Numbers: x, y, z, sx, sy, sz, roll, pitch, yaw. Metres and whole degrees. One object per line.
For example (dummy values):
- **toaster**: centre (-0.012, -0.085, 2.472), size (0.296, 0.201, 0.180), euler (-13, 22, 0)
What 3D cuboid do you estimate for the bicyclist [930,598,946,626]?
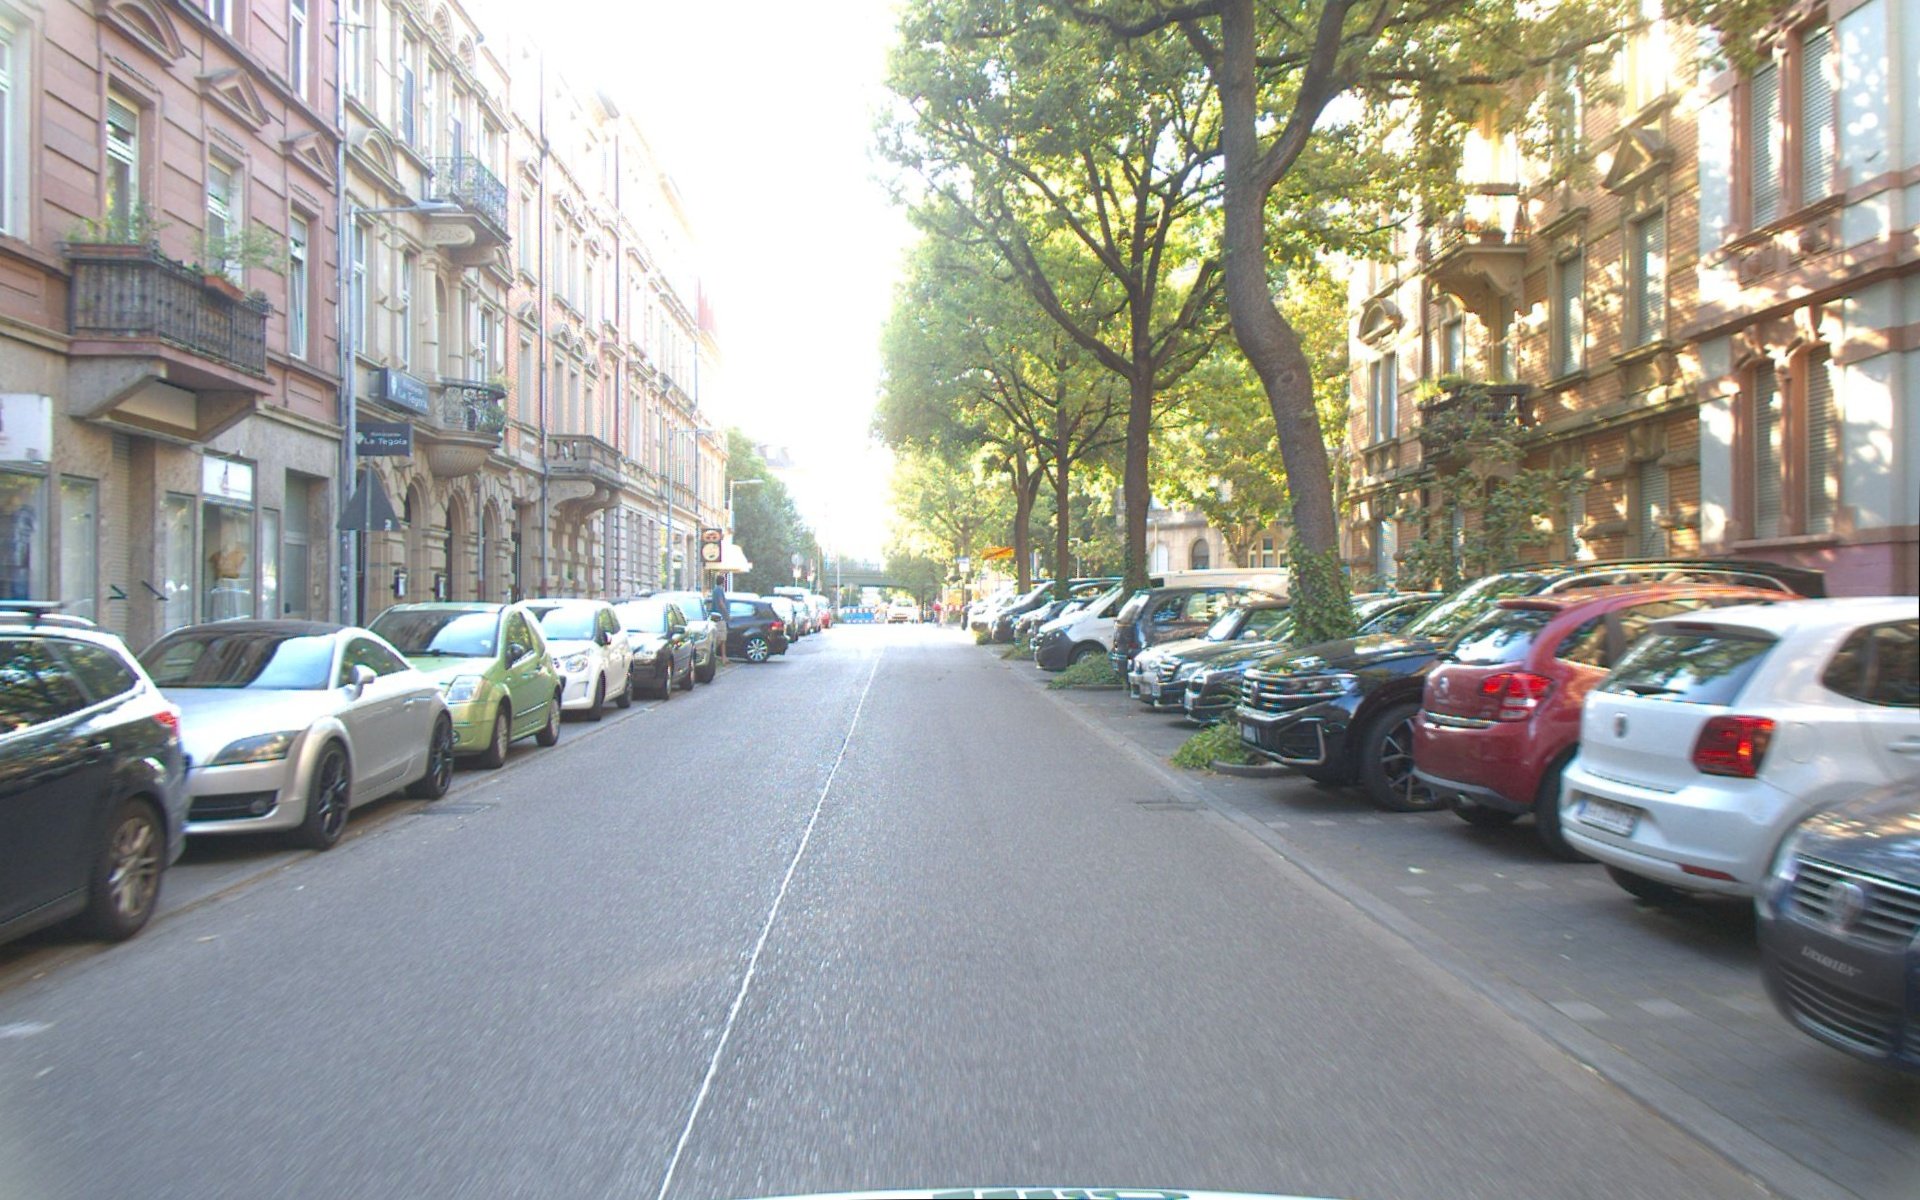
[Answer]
- **bicyclist**: centre (-1.122, 0.588, 83.663), size (0.787, 1.407, 0.985), euler (1, 0, -3)

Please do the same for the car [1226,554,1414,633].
- **car**: centre (12.093, -0.197, 55.768), size (5.784, 2.582, 2.376), euler (0, 0, -8)

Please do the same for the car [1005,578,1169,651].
- **car**: centre (3.417, 0.379, 44.931), size (4.185, 1.918, 1.937), euler (0, 0, -6)

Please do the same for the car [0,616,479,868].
- **car**: centre (-4.692, 0.821, 11.387), size (1.671, 1.346, 4.100), euler (0, 0, -2)

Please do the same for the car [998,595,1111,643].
- **car**: centre (3.244, 0.656, 57.279), size (3.763, 1.623, 1.740), euler (0, 0, -2)

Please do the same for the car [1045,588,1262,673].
- **car**: centre (3.790, 0.579, 32.709), size (3.914, 1.500, 1.778), euler (-2, 0, -10)

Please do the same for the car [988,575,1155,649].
- **car**: centre (3.147, 0.332, 47.187), size (4.524, 2.049, 1.998), euler (0, 0, -5)

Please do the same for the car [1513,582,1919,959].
- **car**: centre (4.819, 0.659, 7.651), size (3.909, 1.488, 1.780), euler (-1, 0, -6)

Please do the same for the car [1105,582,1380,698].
- **car**: centre (4.248, 0.574, 25.203), size (3.810, 1.678, 1.722), euler (0, 0, -7)

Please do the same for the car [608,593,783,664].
- **car**: centre (-6.100, 0.632, 38.385), size (3.912, 1.556, 1.823), euler (-1, 0, -8)

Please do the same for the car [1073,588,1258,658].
- **car**: centre (4.691, 0.505, 38.131), size (3.999, 1.524, 1.843), euler (-1, 0, -2)

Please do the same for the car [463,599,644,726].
- **car**: centre (-5.272, 0.752, 21.907), size (1.550, 1.499, 3.998), euler (0, 0, -2)

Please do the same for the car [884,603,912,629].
- **car**: centre (-3.787, 0.950, 101.389), size (1.714, 1.535, 3.998), euler (0, 0, -2)

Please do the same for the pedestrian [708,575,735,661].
- **pedestrian**: centre (-5.383, 0.400, 37.387), size (0.579, 1.921, 0.639), euler (0, 0, -10)

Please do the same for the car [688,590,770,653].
- **car**: centre (-6.088, 0.544, 43.993), size (1.706, 1.594, 3.893), euler (0, 0, -1)

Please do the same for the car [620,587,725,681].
- **car**: centre (-5.369, 0.590, 31.251), size (1.616, 1.601, 4.044), euler (3, 0, -6)

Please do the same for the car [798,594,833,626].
- **car**: centre (-7.171, 0.492, 82.334), size (1.636, 1.557, 3.996), euler (0, 0, -4)

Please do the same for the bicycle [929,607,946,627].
- **bicycle**: centre (-1.139, 0.874, 83.716), size (0.787, 0.985, 2.107), euler (1, 0, -2)

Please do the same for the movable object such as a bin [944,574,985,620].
- **movable object such as a bin**: centre (0.274, -0.183, 100.266), size (1.951, 2.747, 3.113), euler (0, -1, 11)

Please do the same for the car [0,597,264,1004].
- **car**: centre (-4.519, 0.755, 6.516), size (1.784, 1.503, 4.422), euler (1, 0, -2)

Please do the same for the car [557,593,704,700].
- **car**: centre (-5.139, 0.681, 26.244), size (1.614, 1.498, 3.998), euler (3, 0, -2)

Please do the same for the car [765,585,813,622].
- **car**: centre (-6.865, 0.138, 66.789), size (1.730, 1.462, 4.298), euler (0, 0, -3)

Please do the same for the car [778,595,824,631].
- **car**: centre (-6.889, 0.549, 72.009), size (1.690, 1.462, 3.994), euler (2, 0, -2)

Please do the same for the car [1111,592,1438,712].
- **car**: centre (4.202, 0.666, 22.446), size (4.027, 1.529, 1.808), euler (0, 0, -7)

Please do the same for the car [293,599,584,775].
- **car**: centre (-4.889, 0.739, 16.060), size (1.671, 1.464, 3.958), euler (0, 0, -2)

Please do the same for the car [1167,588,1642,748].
- **car**: centre (4.543, 0.670, 17.405), size (4.459, 1.556, 2.000), euler (0, 0, -1)

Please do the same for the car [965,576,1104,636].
- **car**: centre (2.671, 0.206, 60.156), size (4.873, 2.132, 2.105), euler (0, 0, -2)

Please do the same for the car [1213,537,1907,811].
- **car**: centre (4.403, 0.494, 12.537), size (4.555, 1.732, 1.879), euler (-2, 0, -6)

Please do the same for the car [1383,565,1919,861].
- **car**: centre (4.828, 0.613, 10.249), size (3.909, 1.618, 1.780), euler (-1, 0, -6)

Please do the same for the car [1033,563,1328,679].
- **car**: centre (3.886, 0.409, 29.884), size (4.989, 1.974, 2.157), euler (0, -3, -2)

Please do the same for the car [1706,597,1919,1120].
- **car**: centre (4.571, 0.633, 4.930), size (3.908, 1.412, 1.677), euler (-3, 0, -3)

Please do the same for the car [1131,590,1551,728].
- **car**: centre (4.537, 0.657, 19.960), size (4.576, 1.529, 1.927), euler (0, 0, -11)

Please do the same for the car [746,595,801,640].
- **car**: centre (-6.349, 0.567, 56.632), size (1.670, 1.480, 4.017), euler (0, 0, -3)

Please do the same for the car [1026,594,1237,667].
- **car**: centre (3.606, 0.630, 35.371), size (4.281, 1.481, 1.933), euler (-1, 0, -2)
